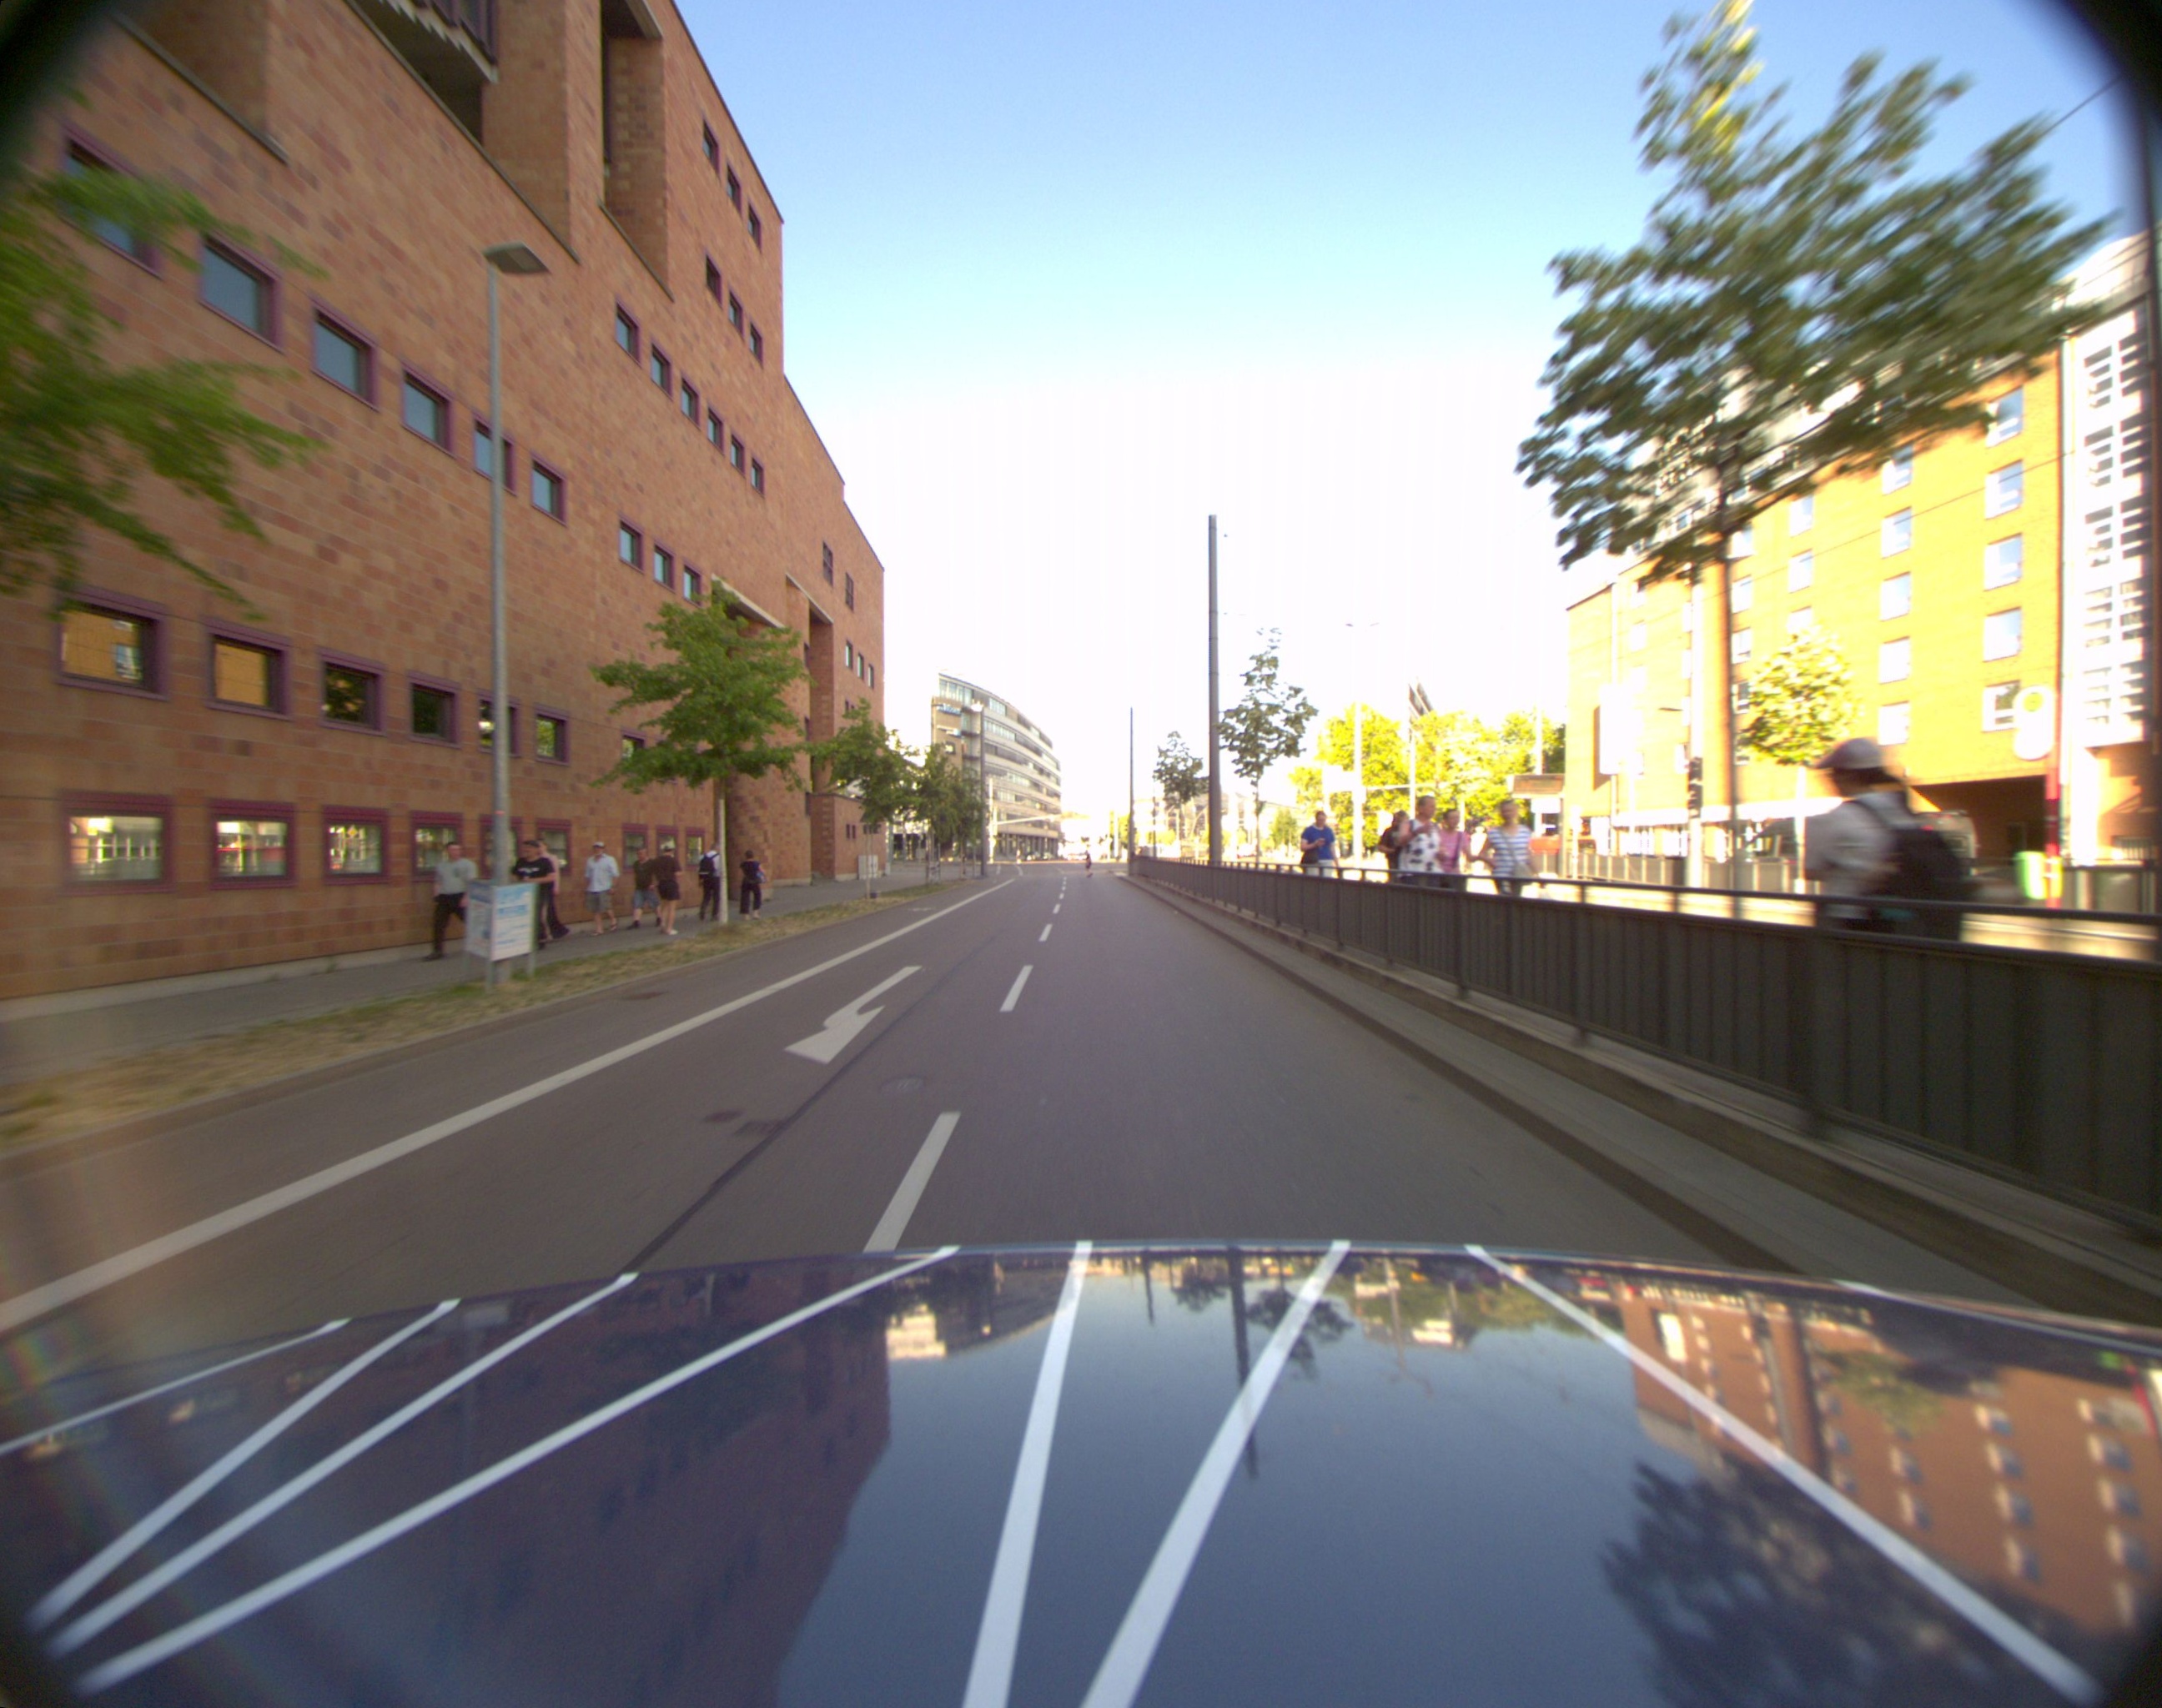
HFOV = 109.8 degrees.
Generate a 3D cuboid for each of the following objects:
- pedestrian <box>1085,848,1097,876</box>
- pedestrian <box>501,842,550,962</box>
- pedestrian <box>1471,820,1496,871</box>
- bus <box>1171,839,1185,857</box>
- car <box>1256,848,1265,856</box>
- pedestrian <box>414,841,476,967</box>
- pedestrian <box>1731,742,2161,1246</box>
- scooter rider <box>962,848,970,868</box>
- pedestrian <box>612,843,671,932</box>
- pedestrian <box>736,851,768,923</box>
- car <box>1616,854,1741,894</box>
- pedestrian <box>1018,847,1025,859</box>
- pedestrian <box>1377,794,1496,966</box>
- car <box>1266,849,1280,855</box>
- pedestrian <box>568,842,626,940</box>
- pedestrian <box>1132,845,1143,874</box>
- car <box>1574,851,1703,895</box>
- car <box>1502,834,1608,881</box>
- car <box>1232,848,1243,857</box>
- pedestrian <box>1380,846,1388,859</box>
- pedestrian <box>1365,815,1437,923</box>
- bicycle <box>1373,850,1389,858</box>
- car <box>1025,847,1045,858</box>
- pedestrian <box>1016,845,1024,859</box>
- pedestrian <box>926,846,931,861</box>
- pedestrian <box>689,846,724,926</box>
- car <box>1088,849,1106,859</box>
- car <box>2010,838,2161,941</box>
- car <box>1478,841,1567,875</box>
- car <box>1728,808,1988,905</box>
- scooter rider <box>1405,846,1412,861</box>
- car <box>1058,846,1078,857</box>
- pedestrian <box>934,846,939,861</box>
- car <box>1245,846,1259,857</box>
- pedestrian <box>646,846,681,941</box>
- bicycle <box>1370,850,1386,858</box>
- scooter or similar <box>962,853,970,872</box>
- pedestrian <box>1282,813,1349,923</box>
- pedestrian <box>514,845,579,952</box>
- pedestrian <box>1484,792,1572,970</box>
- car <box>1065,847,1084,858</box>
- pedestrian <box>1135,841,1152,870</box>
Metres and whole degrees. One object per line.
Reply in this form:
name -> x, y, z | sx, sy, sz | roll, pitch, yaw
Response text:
pedestrian -> 0.628, 0.460, 45.903 | 0.623, 1.692, 0.750 | 0, 1, 9
pedestrian -> -8.324, 0.700, 11.410 | 0.539, 1.746, 0.463 | -1, 1, -32
pedestrian -> 13.599, -0.282, 25.680 | 0.677, 1.674, 0.577 | 1, 1, 34
bus -> 19.856, -1.140, 154.959 | 2.723, 3.388, 9.674 | 0, 0, 7
car -> 44.125, -0.547, 186.987 | 1.608, 2.002, 3.892 | 0, 1, 20
pedestrian -> -9.042, 0.693, 10.814 | 0.538, 1.746, 0.421 | 0, 1, -19
pedestrian -> 3.116, 0.431, 2.785 | 0.674, 1.553, 0.906 | 0, 1, 1
scooter rider -> -8.302, 0.298, 54.856 | 0.507, 1.452, 0.721 | 0, 1, -7
pedestrian -> -8.818, 0.654, 15.273 | 0.734, 1.746, 0.695 | 0, 1, 4
pedestrian -> -7.442, 0.725, 17.191 | 0.518, 1.596, 0.704 | 0, 1, -12
car -> 24.059, 0.760, 30.812 | 1.891, 1.523, 4.000 | 0, 0, -1
pedestrian -> -8.167, -0.160, 103.989 | 0.845, 1.678, 0.648 | 0, 1, 4
pedestrian -> 3.760, 0.245, 8.014 | 0.888, 1.662, 1.098 | 1, 1, 38
car -> 47.069, -0.469, 186.240 | 1.860, 1.622, 4.272 | 0, 0, 33
pedestrian -> -8.865, 0.664, 13.933 | 0.537, 1.746, 0.696 | 0, 1, 14
pedestrian -> 3.078, 0.299, 41.543 | 0.490, 1.530, 0.552 | 0, 1, 15
car -> 20.860, 0.681, 28.643 | 1.891, 1.523, 4.000 | 0, 0, -1
car -> 24.315, 0.148, 39.271 | 2.084, 2.276, 5.263 | 0, 1, -1
car -> 26.808, -0.275, 129.908 | 1.690, 1.419, 4.003 | 0, 0, 9
pedestrian -> 40.825, -0.249, 102.413 | 0.891, 1.754, 0.732 | 1, 0, 12
pedestrian -> 4.549, 0.205, 10.846 | 0.684, 1.475, 0.829 | -1, 1, 1
bicycle -> 39.365, 0.009, 99.817 | 1.841, 1.123, 0.776 | 0, 1, 6
car -> -7.014, -0.271, 116.246 | 1.901, 1.612, 4.177 | 0, 0, 16
pedestrian -> -8.262, -0.262, 103.208 | 0.966, 1.832, 0.699 | 0, 1, 3
pedestrian -> -19.326, -0.068, 96.375 | 0.589, 1.813, 0.544 | 0, 1, -12
pedestrian -> -8.148, 0.668, 16.559 | 0.573, 1.703, 0.640 | -1, 1, -18
car -> 2.593, 0.064, 122.700 | 1.901, 1.612, 4.177 | 0, 0, 16
car -> 20.323, 0.639, 13.703 | 1.890, 1.856, 4.316 | 0, 0, 1
car -> 21.025, 0.198, 36.398 | 1.891, 1.523, 4.000 | 0, 0, -1
car -> 20.814, 0.048, 20.764 | 2.051, 2.344, 4.919 | 0, 1, 0
scooter rider -> 39.898, -0.107, 92.550 | 0.587, 1.822, 0.765 | 1, 2, 42
car -> -1.955, -0.297, 114.678 | 1.901, 1.612, 3.871 | 0, 0, 16
pedestrian -> -18.386, -0.068, 96.646 | 0.547, 1.813, 0.374 | 0, 1, -12
car -> 38.818, -0.491, 172.483 | 1.995, 2.465, 5.985 | 0, 0, 23
pedestrian -> -7.785, 0.715, 14.178 | 0.539, 1.746, 0.421 | -1, 1, -28
bicycle -> 39.421, 0.014, 100.728 | 1.841, 1.123, 0.776 | 0, 1, 6
scooter or similar -> -8.298, 0.596, 54.892 | 0.529, 1.310, 1.131 | 0, 1, -7
pedestrian -> 3.624, 0.205, 11.806 | 0.889, 1.662, 0.672 | 0, 1, 7
pedestrian -> -9.018, 0.727, 12.831 | 0.537, 1.746, 0.696 | 0, 1, 11
pedestrian -> 4.445, 0.245, 7.554 | 0.657, 1.662, 0.673 | 1, 1, 37
car -> -0.930, -0.241, 119.039 | 1.901, 1.612, 4.177 | 0, 0, 16
pedestrian -> 3.348, 0.062, 40.618 | 0.714, 1.530, 0.853 | 0, 1, 19
